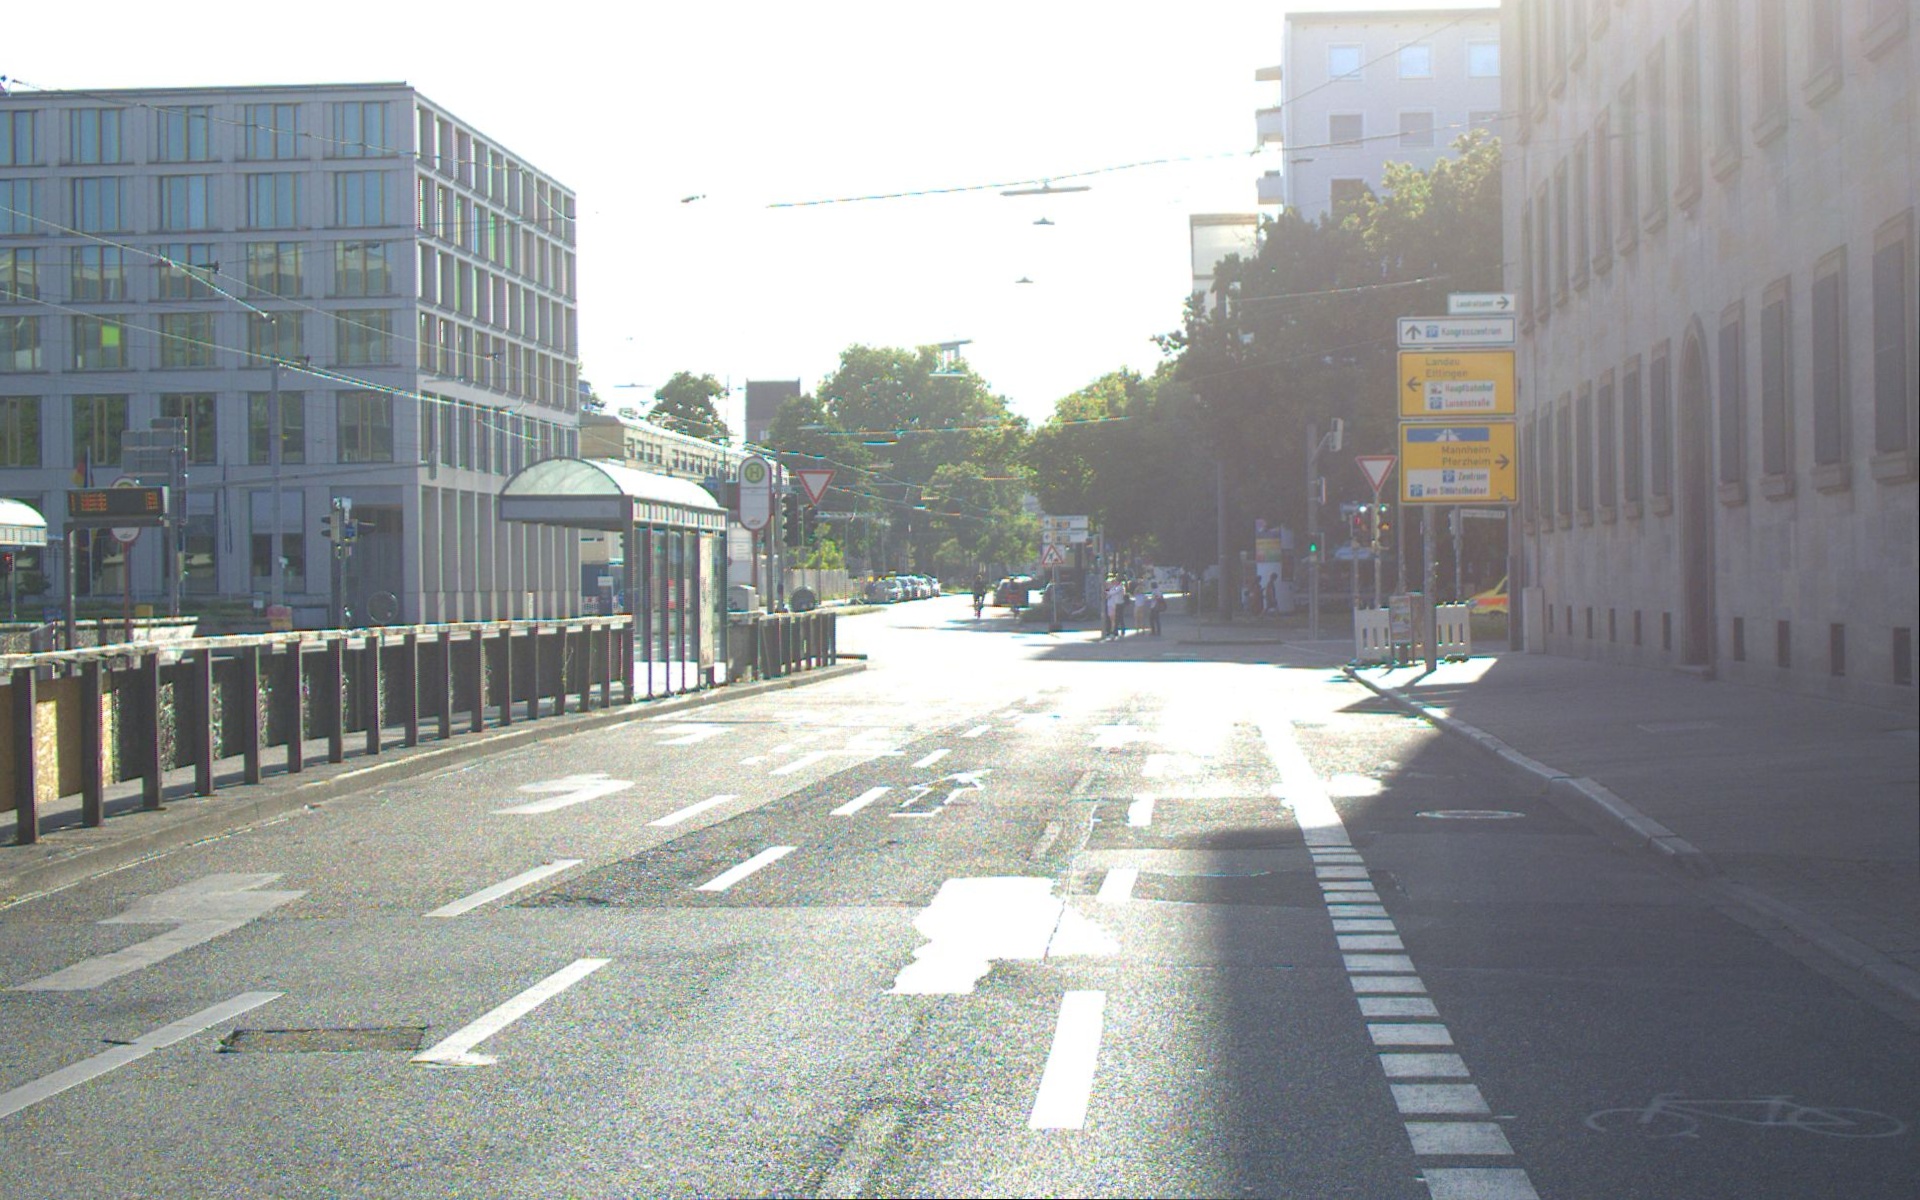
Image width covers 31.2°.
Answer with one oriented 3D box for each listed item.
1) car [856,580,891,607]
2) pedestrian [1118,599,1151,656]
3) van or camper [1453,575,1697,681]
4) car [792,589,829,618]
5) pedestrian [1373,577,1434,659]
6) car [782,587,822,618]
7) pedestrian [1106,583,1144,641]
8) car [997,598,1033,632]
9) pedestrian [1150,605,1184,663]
[{"bbox_3d":[-5.503,-0.400,218.628,1.820,1.706,3.805,-1,0,4],"label":"car"},{"bbox_3d":[5.471,0.874,107.975,0.847,1.778,0.780,-1,0,-12],"label":"pedestrian"},{"bbox_3d":[17.514,0.819,98.176,6.711,2.852,2.909,1,-1,9],"label":"van or camper"},{"bbox_3d":[-8.985,0.228,207.002,1.820,1.706,3.805,-1,0,4],"label":"car"},{"bbox_3d":[9.485,0.386,73.518,1.039,1.715,1.035,-1,0,-7],"label":"pedestrian"},{"bbox_3d":[-9.004,0.140,196.068,1.820,1.706,3.805,-1,0,4],"label":"car"},{"bbox_3d":[5.084,0.363,106.066,0.965,1.778,0.780,-1,0,-12],"label":"pedestrian"},{"bbox_3d":[2.918,0.798,182.767,1.684,1.732,3.508,1,-1,4],"label":"car"},{"bbox_3d":[6.422,1.040,106.738,0.847,1.778,0.780,-1,0,-12],"label":"pedestrian"}]
